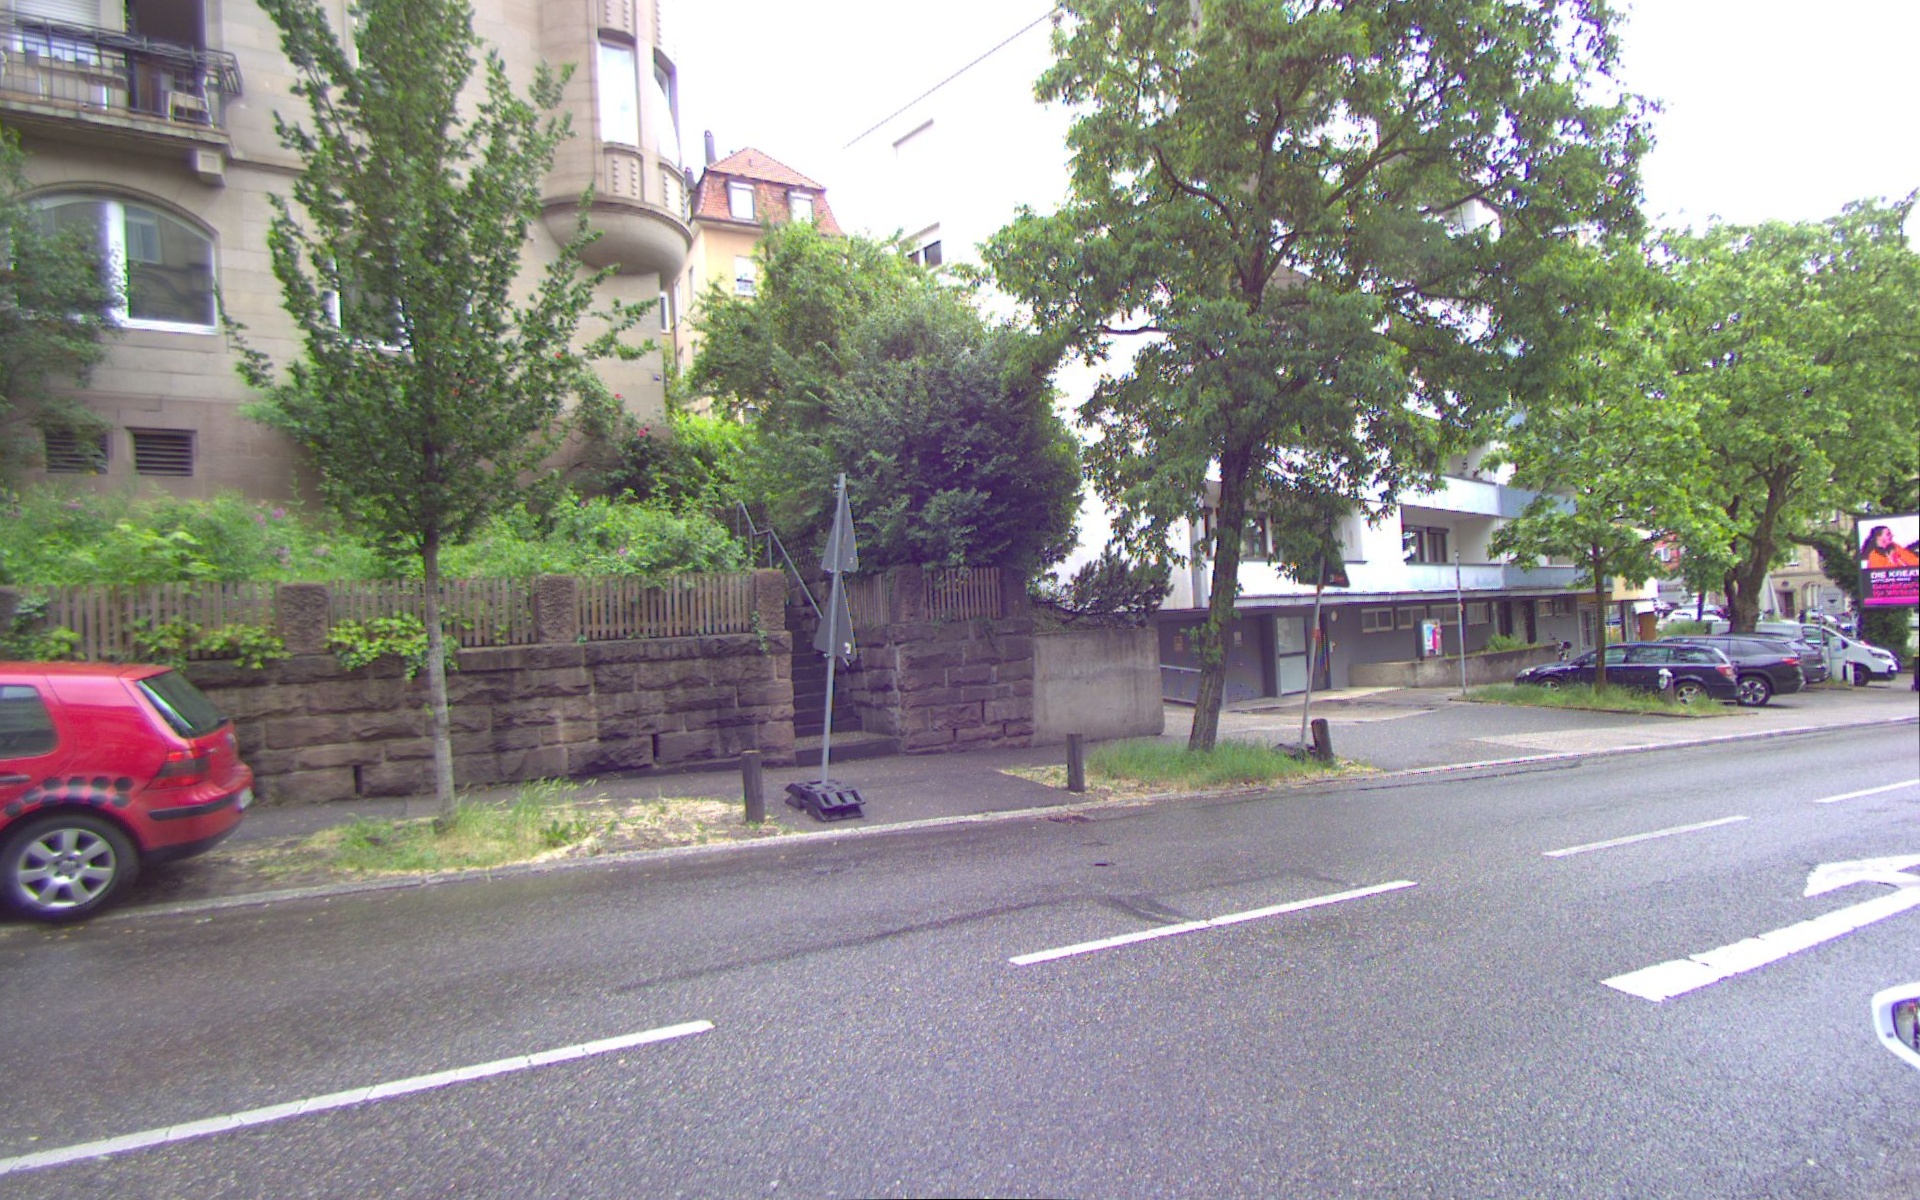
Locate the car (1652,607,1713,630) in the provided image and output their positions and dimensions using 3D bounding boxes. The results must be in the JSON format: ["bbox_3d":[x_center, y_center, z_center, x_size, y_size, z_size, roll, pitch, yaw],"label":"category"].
[{"bbox_3d":[60.357,1.547,83.977,1.961,1.749,4.249,-2,-1,-1],"label":"car"}]

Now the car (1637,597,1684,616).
[{"bbox_3d":[68.712,0.627,98.631,1.694,1.711,3.999,2,0,-2],"label":"car"}]

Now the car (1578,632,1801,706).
[{"bbox_3d":[18.054,1.699,25.039,4.312,1.694,1.848,-3,-4,38],"label":"car"}]

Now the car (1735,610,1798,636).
[{"bbox_3d":[69.484,1.956,86.655,1.961,2.130,4.291,-1,1,-1],"label":"car"}]

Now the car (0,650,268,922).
[{"bbox_3d":[-6.551,1.060,5.822,4.015,1.470,1.606,1,-2,-30],"label":"car"}]

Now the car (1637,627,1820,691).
[{"bbox_3d":[23.353,1.752,30.643,4.305,1.807,1.931,-2,-3,40],"label":"car"}]

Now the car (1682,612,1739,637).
[{"bbox_3d":[68.879,2.226,92.223,1.961,2.130,4.291,-1,1,-1],"label":"car"}]

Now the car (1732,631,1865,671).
[{"bbox_3d":[32.795,1.977,39.418,3.925,1.469,1.761,-2,-3,40],"label":"car"}]

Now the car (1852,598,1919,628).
[{"bbox_3d":[69.342,0.931,74.834,1.961,2.130,4.291,-1,1,-1],"label":"car"}]

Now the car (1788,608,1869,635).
[{"bbox_3d":[60.464,1.487,70.036,1.960,1.749,4.250,-1,0,1],"label":"car"}]

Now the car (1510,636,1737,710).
[{"bbox_3d":[15.639,1.702,23.797,4.303,1.594,1.935,-3,-4,38],"label":"car"}]

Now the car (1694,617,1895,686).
[{"bbox_3d":[27.672,1.685,33.515,5.000,2.132,1.983,-2,-3,40],"label":"car"}]
